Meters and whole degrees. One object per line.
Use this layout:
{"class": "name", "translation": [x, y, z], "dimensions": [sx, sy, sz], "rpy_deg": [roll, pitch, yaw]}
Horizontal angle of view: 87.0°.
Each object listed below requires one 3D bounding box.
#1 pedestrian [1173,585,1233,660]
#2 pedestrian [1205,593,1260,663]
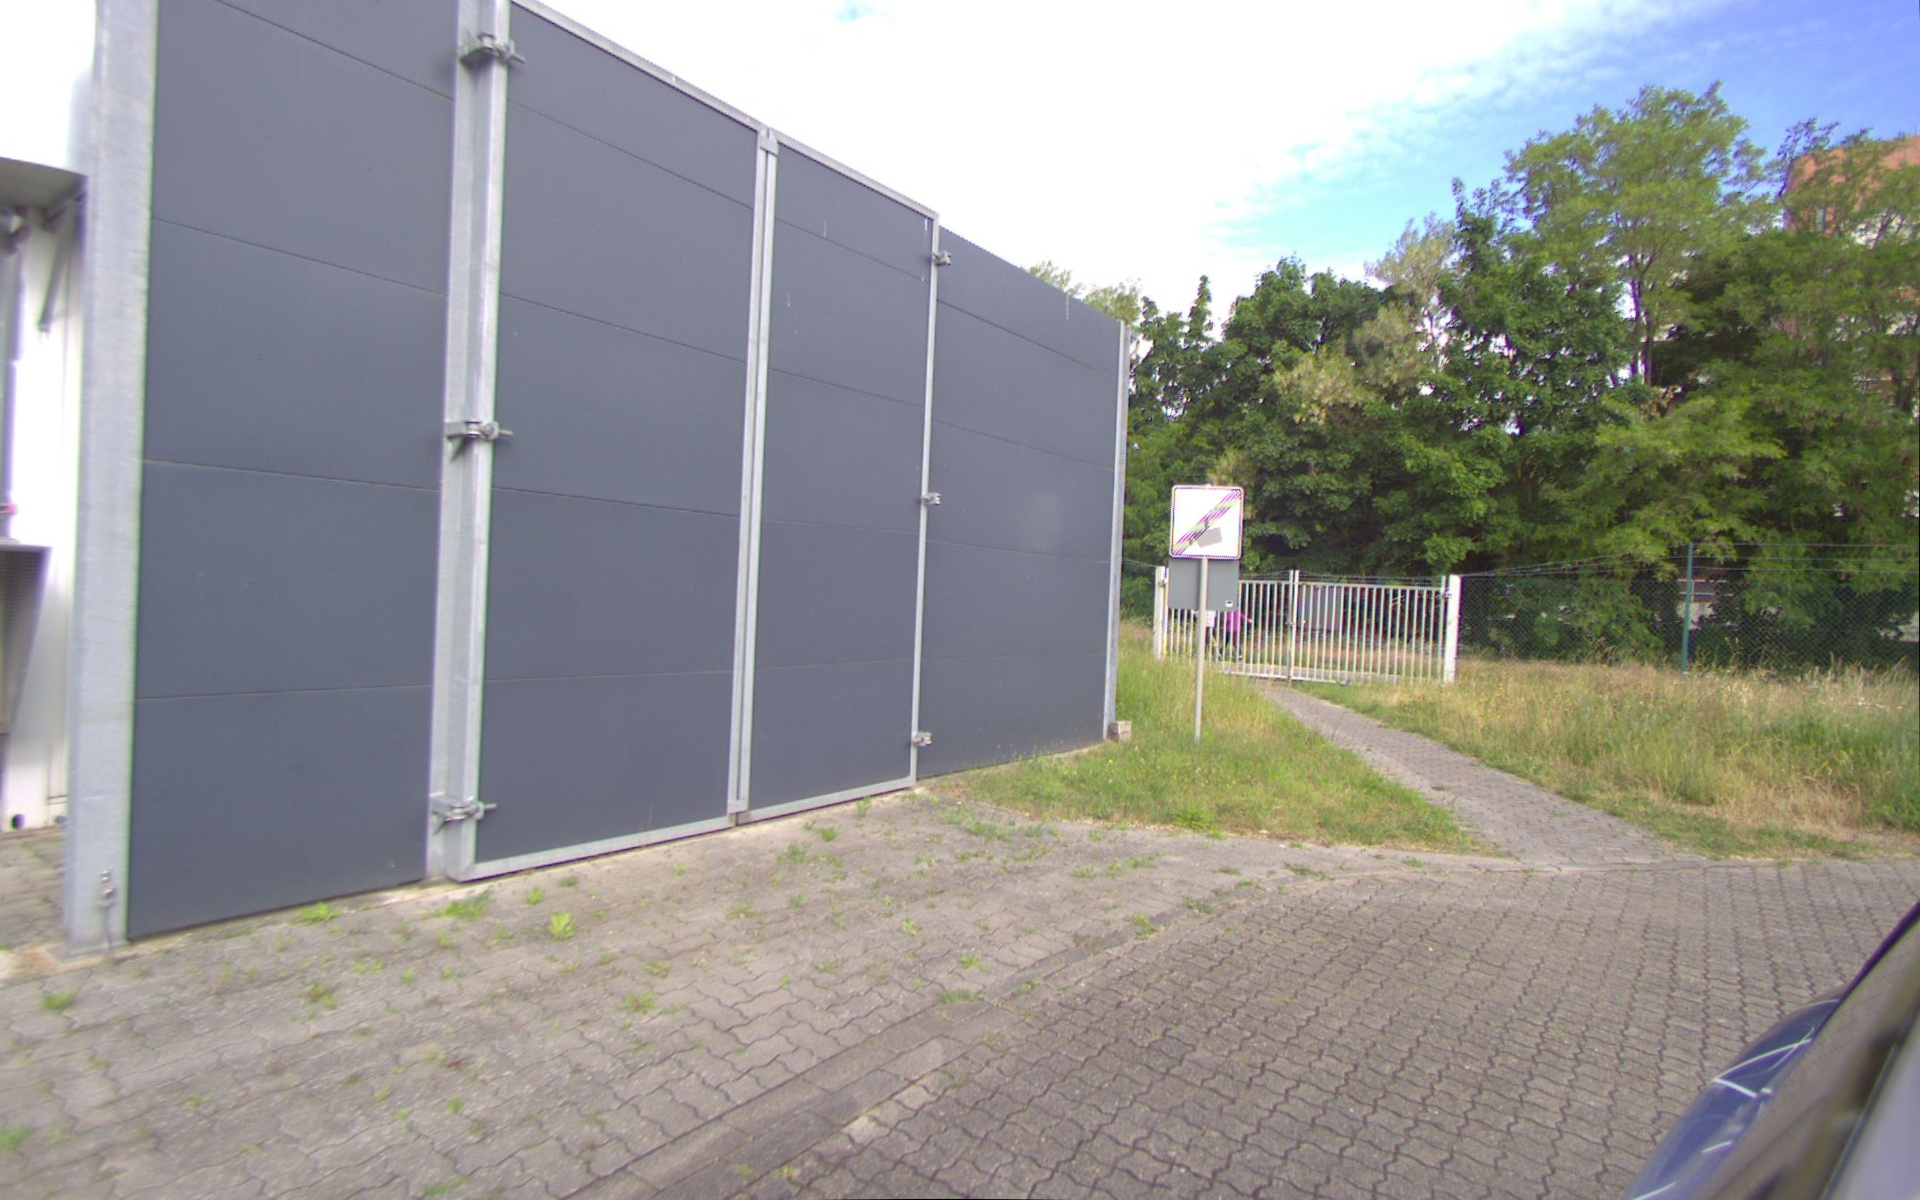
{"class": "pedestrian", "translation": [5.748, 0.521, 23.947], "dimensions": [1.034, 1.703, 0.831], "rpy_deg": [3, 1, 42]}
{"class": "pedestrian", "translation": [6.559, 0.653, 24.377], "dimensions": [1.030, 1.594, 0.727], "rpy_deg": [3, 1, 39]}
